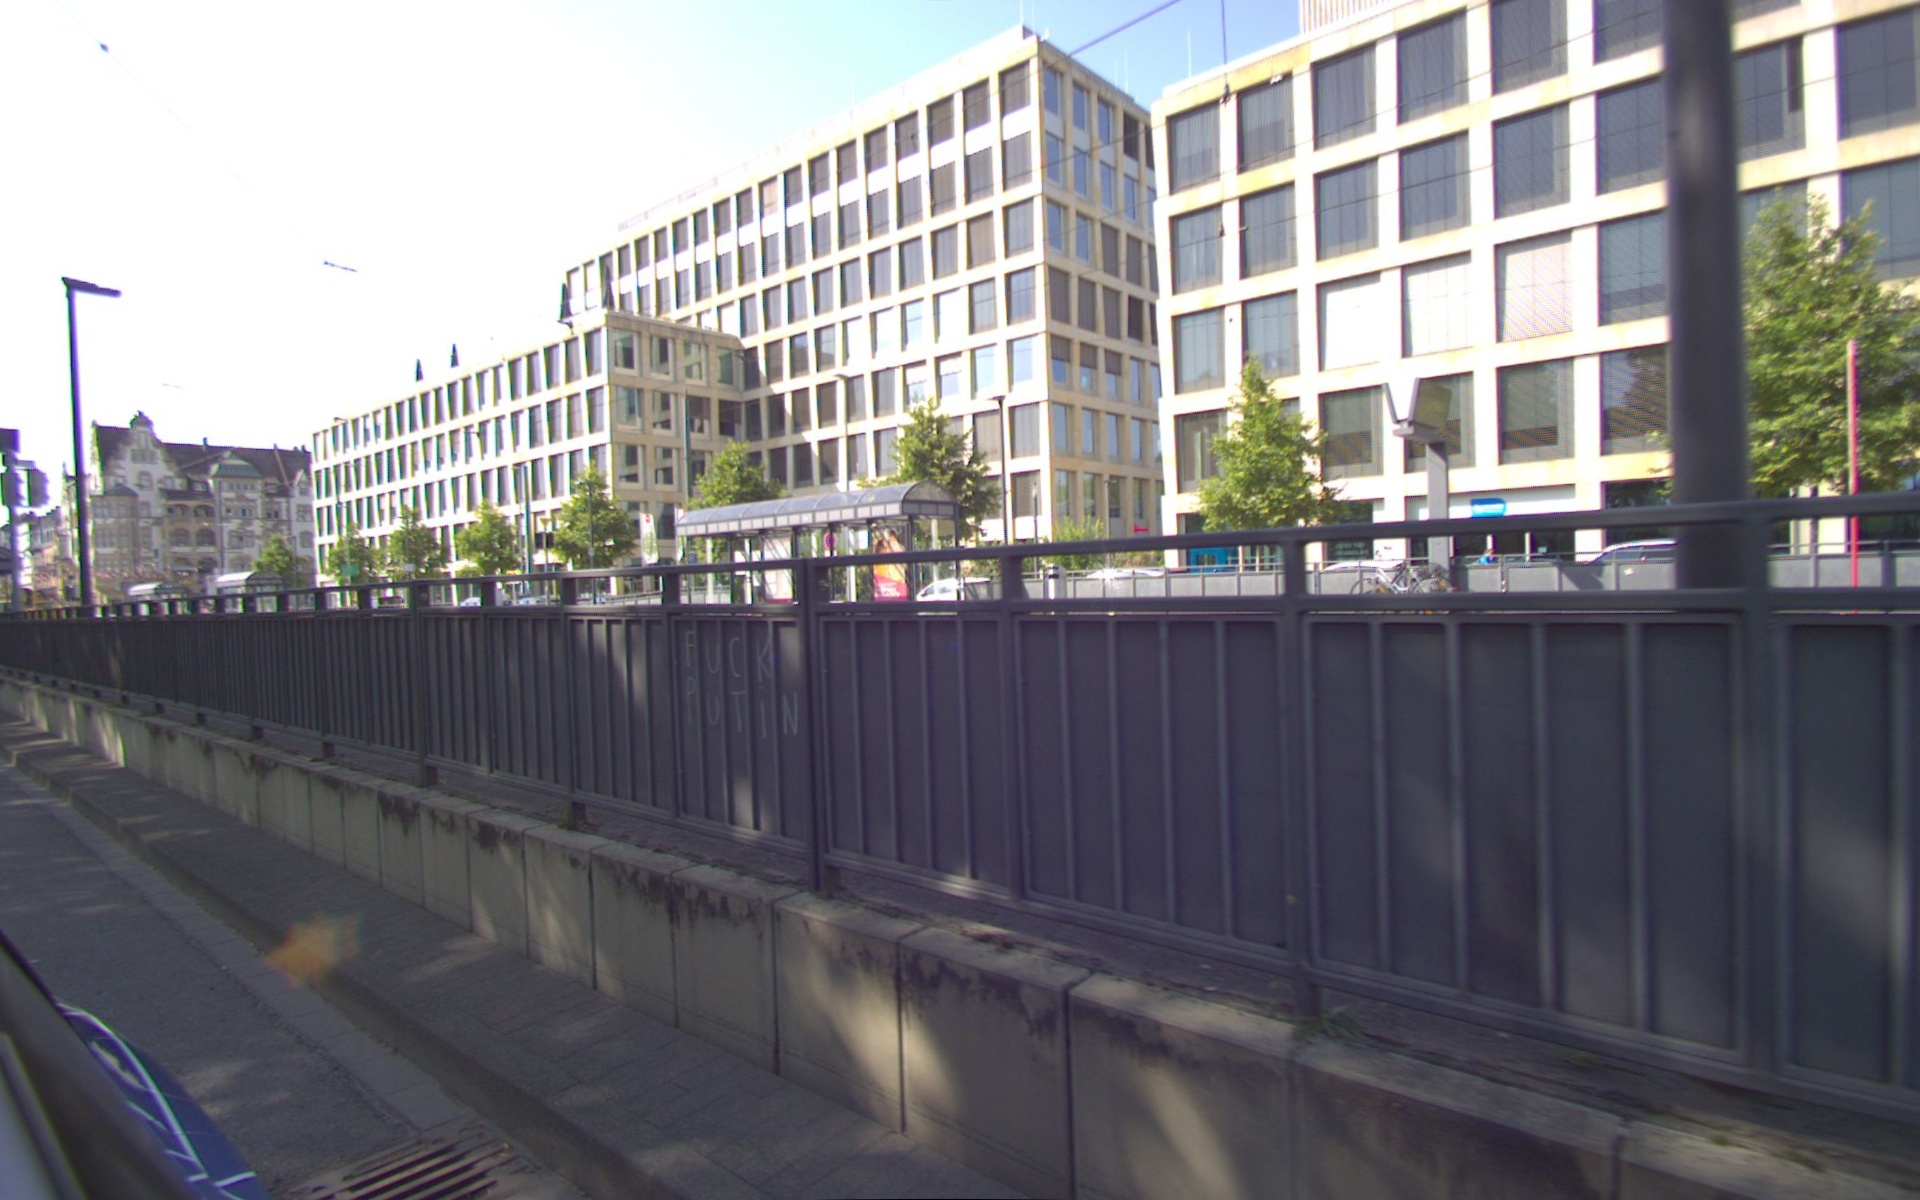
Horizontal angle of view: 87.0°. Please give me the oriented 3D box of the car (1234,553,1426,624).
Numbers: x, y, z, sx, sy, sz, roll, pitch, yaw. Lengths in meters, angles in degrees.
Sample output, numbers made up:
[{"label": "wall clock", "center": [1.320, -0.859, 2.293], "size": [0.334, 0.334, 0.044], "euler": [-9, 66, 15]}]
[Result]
[{"label": "car", "center": [9.103, -0.244, 25.075], "size": [4.128, 1.586, 1.746], "euler": [-1, 0, 40]}]

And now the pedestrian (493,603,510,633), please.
[{"label": "pedestrian", "center": [-32.082, 1.255, 70.818], "size": [0.822, 2.029, 0.758], "euler": [0, -1, 44]}]

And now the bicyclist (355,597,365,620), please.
[{"label": "bicyclist", "center": [-36.060, 0.497, 60.822], "size": [0.447, 1.371, 0.383], "euler": [-2, 0, 41]}]

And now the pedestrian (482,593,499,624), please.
[{"label": "pedestrian", "center": [-31.689, 0.568, 68.359], "size": [0.822, 2.029, 0.758], "euler": [-1, 0, 45]}]

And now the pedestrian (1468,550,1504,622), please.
[{"label": "pedestrian", "center": [15.216, -0.392, 29.278], "size": [0.822, 2.029, 0.557], "euler": [0, -1, 41]}]

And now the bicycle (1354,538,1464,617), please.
[{"label": "bicycle", "center": [6.857, -0.331, 15.509], "size": [0.465, 1.156, 1.487], "euler": [-3, 1, -34]}]

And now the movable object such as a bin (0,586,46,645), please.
[{"label": "movable object such as a bin", "center": [-75.615, 1.250, 81.183], "size": [4.212, 4.588, 2.955], "euler": [-2, 0, 43]}]

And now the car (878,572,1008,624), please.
[{"label": "car", "center": [-0.607, -0.035, 33.291], "size": [4.128, 1.586, 1.746], "euler": [-1, 0, 40]}]

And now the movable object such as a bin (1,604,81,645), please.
[{"label": "movable object such as a bin", "center": [-80.344, 2.135, 88.497], "size": [3.548, 3.247, 4.091], "euler": [-2, 0, 25]}]

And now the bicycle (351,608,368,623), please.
[{"label": "bicycle", "center": [-36.099, 0.934, 60.878], "size": [1.576, 0.886, 0.384], "euler": [-2, 1, 41]}]

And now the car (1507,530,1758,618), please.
[{"label": "car", "center": [13.762, -0.476, 20.827], "size": [4.128, 1.615, 1.746], "euler": [-1, 0, 40]}]

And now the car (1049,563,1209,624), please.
[{"label": "car", "center": [4.728, -0.143, 28.609], "size": [4.128, 1.586, 1.746], "euler": [-1, 0, 40]}]
